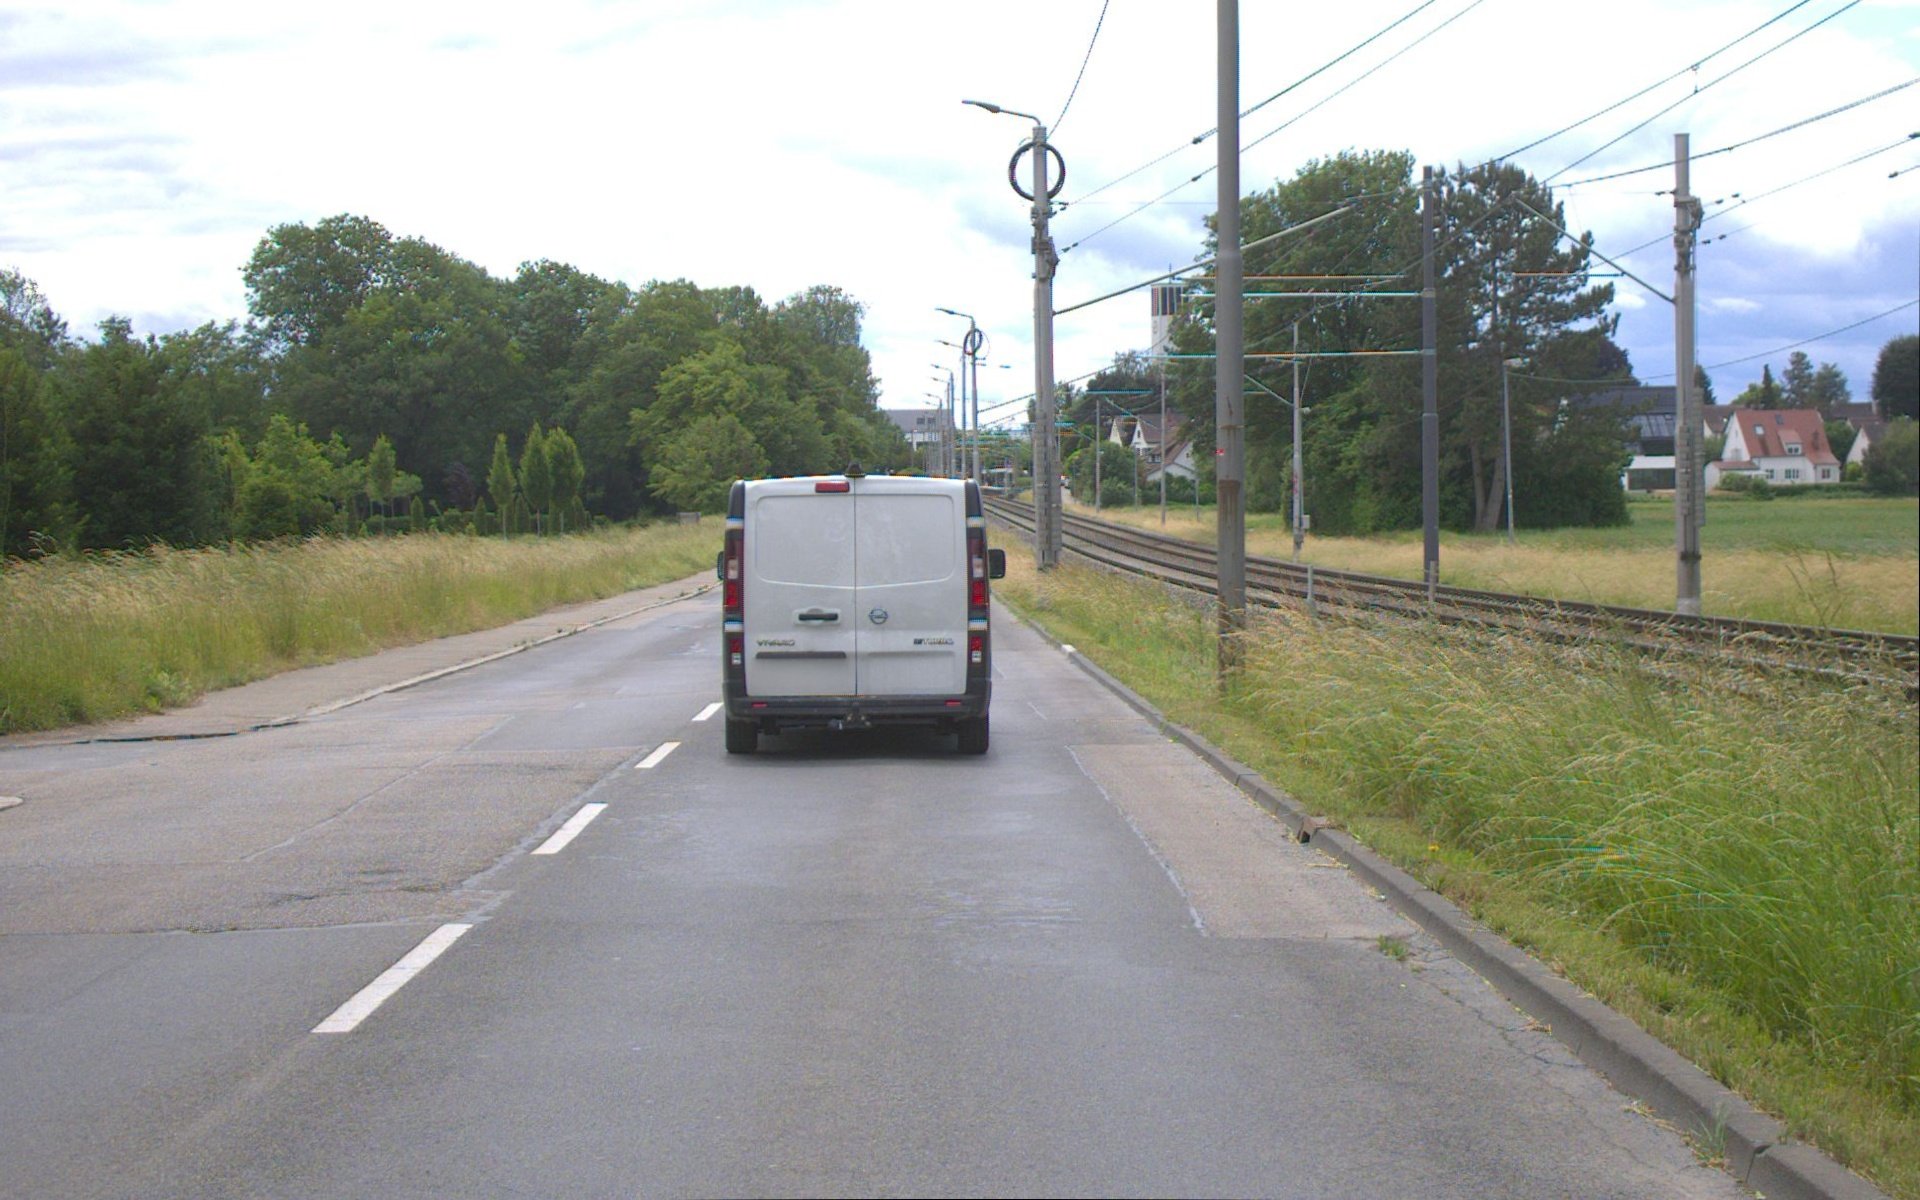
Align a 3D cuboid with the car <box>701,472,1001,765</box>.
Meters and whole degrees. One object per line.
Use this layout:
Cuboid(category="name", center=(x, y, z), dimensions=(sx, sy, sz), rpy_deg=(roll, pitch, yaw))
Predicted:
Cuboid(category="car", center=(-0.796, 0.100, 25.001), dimensions=(1.993, 1.950, 4.000), rpy_deg=(0, 1, -2))
